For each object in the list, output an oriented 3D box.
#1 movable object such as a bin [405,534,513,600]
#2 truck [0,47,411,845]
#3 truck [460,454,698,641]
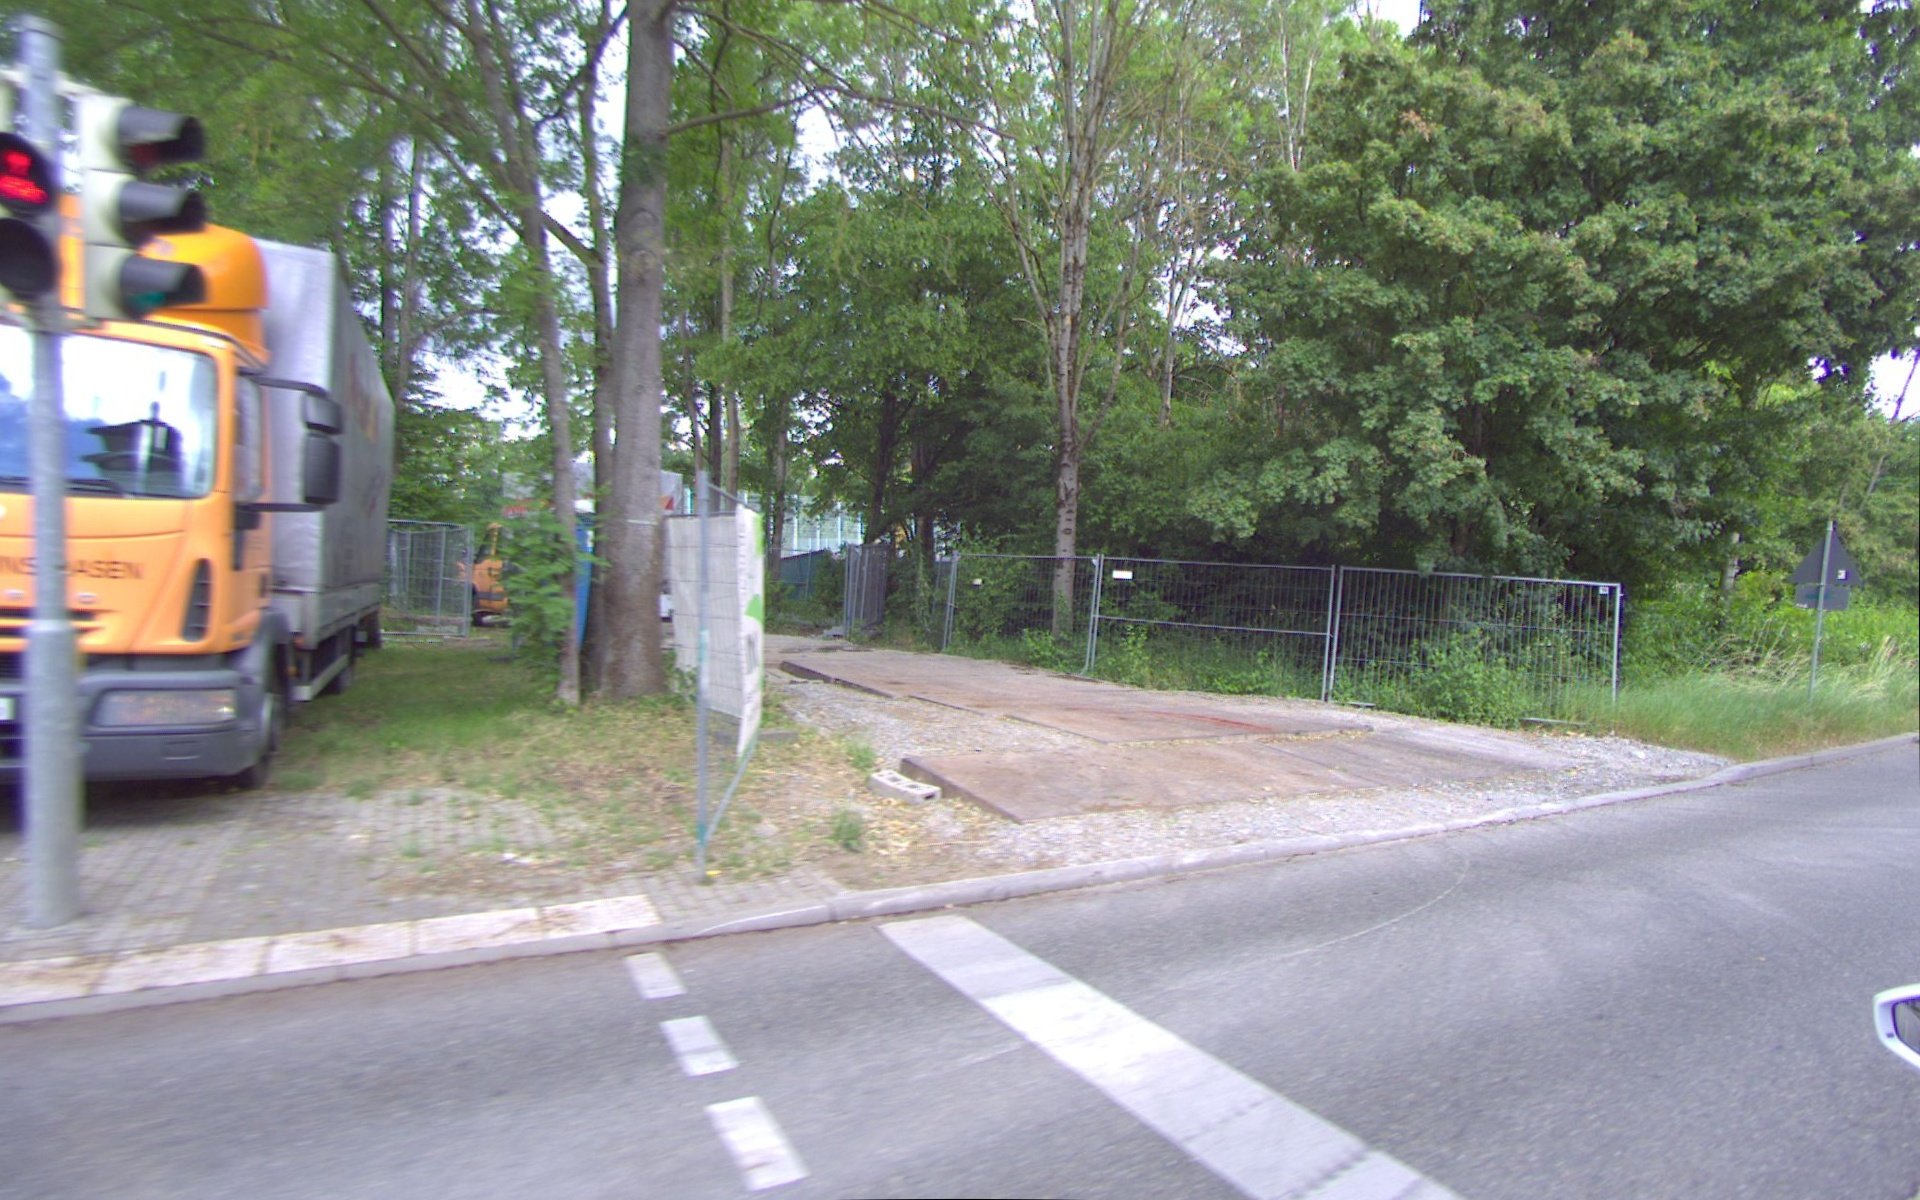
[{"bbox_3d":[-21.244,-1.404,42.612,3.926,2.625,2.154,2,1,27],"label":"movable object such as a bin"},{"bbox_3d":[-6.440,-0.892,8.603,2.532,3.578,9.197,3,2,-26],"label":"truck"},{"bbox_3d":[-7.897,-1.035,20.411,2.437,3.243,5.837,-1,3,-44],"label":"truck"}]
